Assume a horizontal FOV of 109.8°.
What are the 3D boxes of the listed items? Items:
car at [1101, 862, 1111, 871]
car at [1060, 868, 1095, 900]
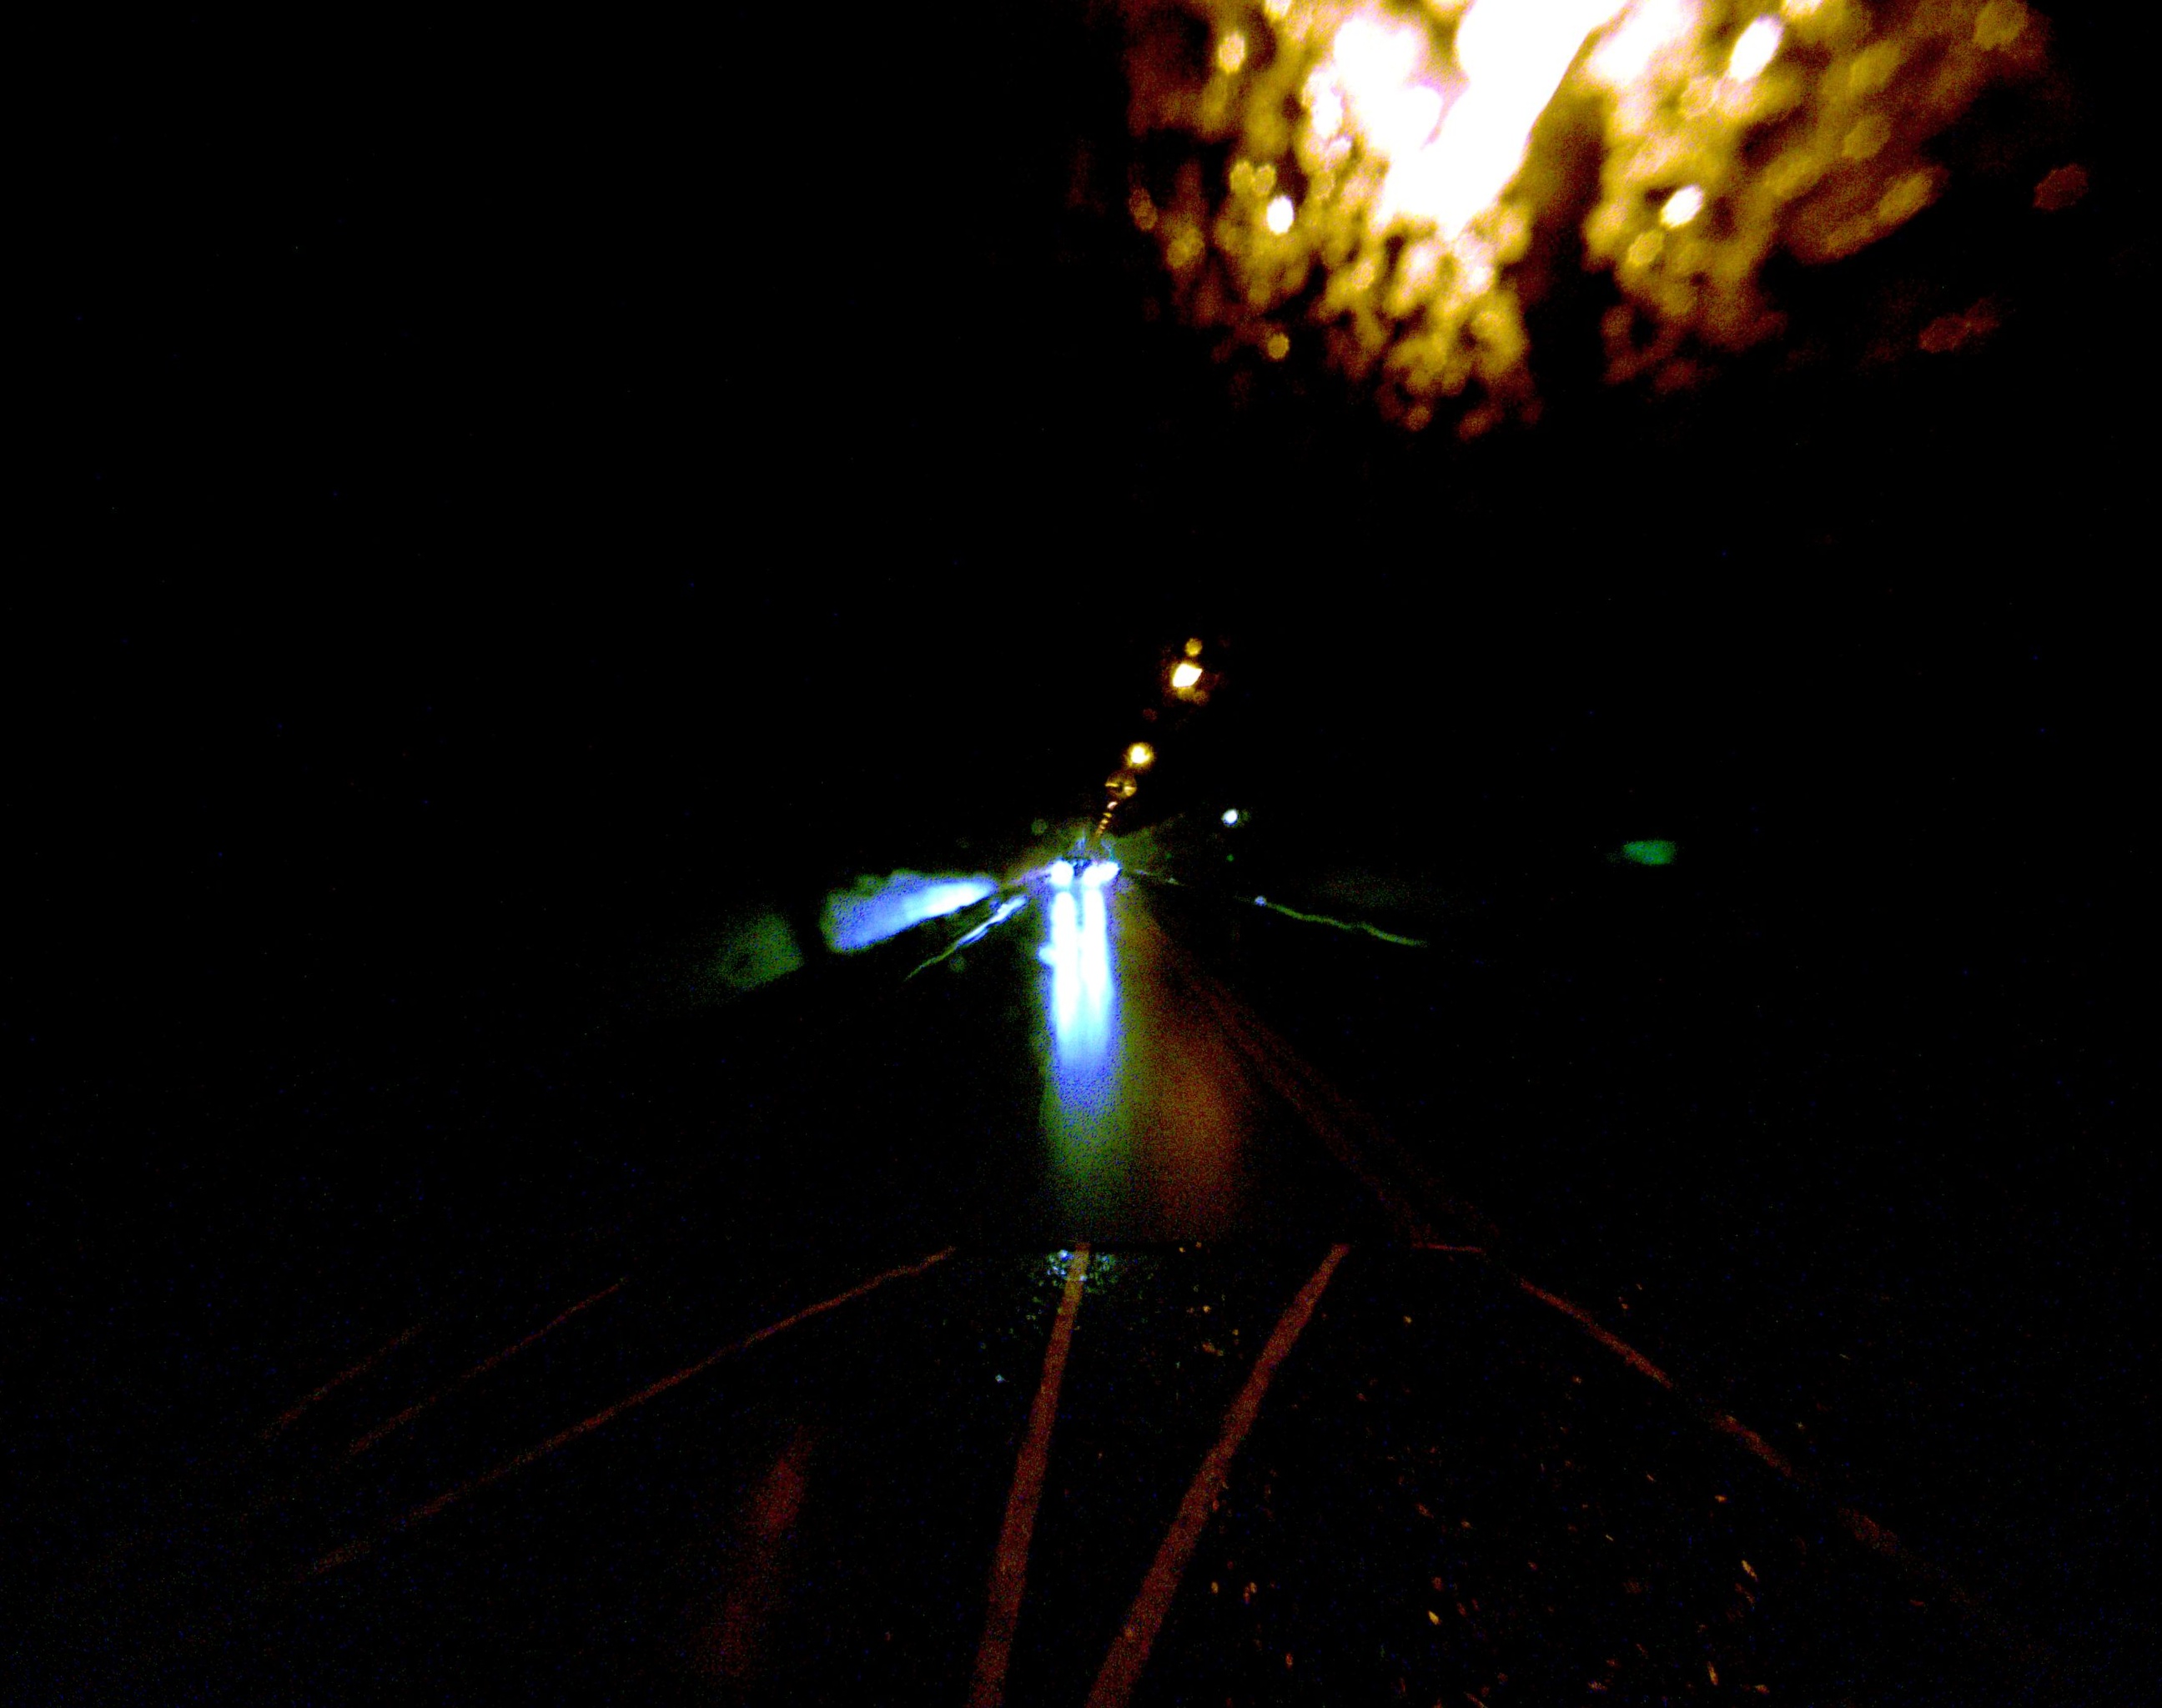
[{"bbox_3d":[4.510,2.220,137.082,1.639,1.525,3.647,0,-1,1],"label":"car"},{"bbox_3d":[-0.132,1.446,37.329,1.627,1.487,3.586,0,-1,1],"label":"car"}]
